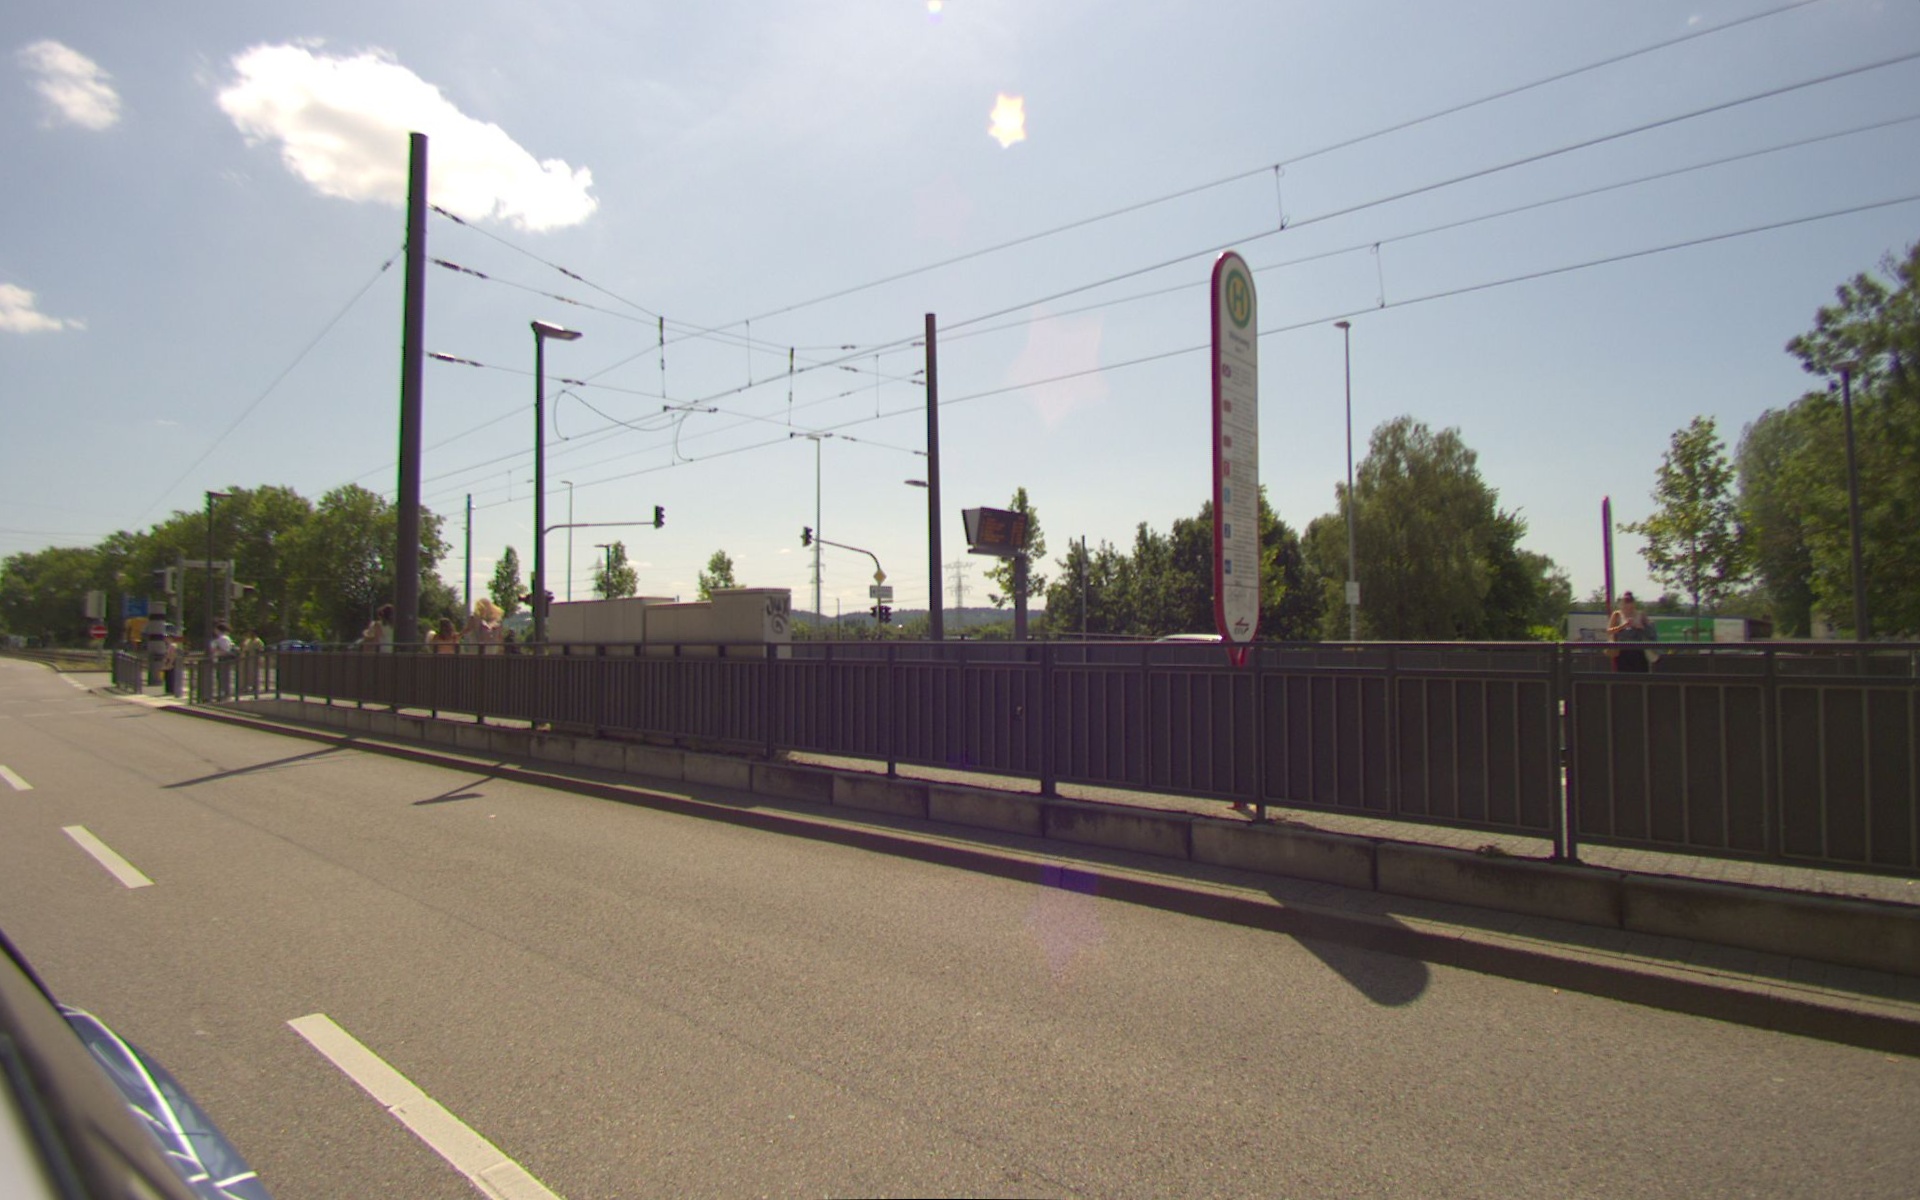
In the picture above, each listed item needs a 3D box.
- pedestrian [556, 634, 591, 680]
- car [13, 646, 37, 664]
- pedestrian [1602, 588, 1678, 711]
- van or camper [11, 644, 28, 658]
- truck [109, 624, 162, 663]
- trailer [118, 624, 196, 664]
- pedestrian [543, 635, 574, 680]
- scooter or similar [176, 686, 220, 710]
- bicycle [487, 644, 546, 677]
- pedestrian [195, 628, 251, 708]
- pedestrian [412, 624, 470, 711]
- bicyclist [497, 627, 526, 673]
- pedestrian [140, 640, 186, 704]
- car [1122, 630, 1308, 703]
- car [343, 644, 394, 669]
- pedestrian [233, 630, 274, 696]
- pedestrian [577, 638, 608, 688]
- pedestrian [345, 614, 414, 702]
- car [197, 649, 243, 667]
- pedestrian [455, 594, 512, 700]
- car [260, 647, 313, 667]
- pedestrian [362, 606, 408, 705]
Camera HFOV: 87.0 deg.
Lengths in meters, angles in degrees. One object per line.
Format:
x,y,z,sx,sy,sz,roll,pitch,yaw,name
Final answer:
-14.130,2.083,37.036,0.763,1.622,0.947,-3,-3,40,pedestrian
-135.996,7.974,147.197,4.432,1.852,1.972,-13,-15,41,car
9.430,0.680,14.042,0.805,1.650,0.552,-3,-3,35,pedestrian
-177.340,9.651,190.898,1.968,2.606,5.853,3,-4,-40,van or camper
-90.538,4.816,111.067,7.467,4.070,3.095,-3,-3,39,truck
-84.081,4.641,105.770,15.464,3.900,3.084,-3,-3,39,trailer
-14.163,2.017,35.704,0.763,1.560,0.754,-3,-3,40,pedestrian
-17.476,2.246,23.208,0.457,0.510,0.719,-3,-3,39,scooter or similar
-16.162,2.200,36.908,0.760,1.109,1.960,-2,-2,27,bicycle
-17.293,1.578,23.752,0.882,1.816,0.854,-3,-2,39,pedestrian
-8.372,1.078,16.319,0.719,1.355,0.607,-3,-2,40,pedestrian
-16.265,1.814,36.701,0.730,1.627,0.660,-2,-2,27,bicyclist
-20.532,1.839,26.074,0.764,1.584,0.777,-3,-2,39,pedestrian
6.265,1.615,25.062,3.998,1.641,1.973,-3,-3,41,car
-40.970,3.885,70.048,4.309,1.642,1.971,-3,-3,43,car
-18.451,1.644,26.433,0.678,1.685,0.725,-3,-2,39,pedestrian
-12.686,2.179,34.933,0.763,1.685,0.754,-3,-3,40,pedestrian
-11.018,1.095,19.197,0.923,1.617,0.881,-3,-3,41,pedestrian
-65.858,5.160,90.004,4.267,1.474,1.977,-2,-3,34,car
-7.884,0.764,16.729,0.719,1.694,0.607,-3,-2,40,pedestrian
-52.070,4.390,78.243,4.340,1.456,1.976,-3,-3,35,car
-9.476,0.911,16.682,0.557,1.590,0.492,-3,-3,41,pedestrian
